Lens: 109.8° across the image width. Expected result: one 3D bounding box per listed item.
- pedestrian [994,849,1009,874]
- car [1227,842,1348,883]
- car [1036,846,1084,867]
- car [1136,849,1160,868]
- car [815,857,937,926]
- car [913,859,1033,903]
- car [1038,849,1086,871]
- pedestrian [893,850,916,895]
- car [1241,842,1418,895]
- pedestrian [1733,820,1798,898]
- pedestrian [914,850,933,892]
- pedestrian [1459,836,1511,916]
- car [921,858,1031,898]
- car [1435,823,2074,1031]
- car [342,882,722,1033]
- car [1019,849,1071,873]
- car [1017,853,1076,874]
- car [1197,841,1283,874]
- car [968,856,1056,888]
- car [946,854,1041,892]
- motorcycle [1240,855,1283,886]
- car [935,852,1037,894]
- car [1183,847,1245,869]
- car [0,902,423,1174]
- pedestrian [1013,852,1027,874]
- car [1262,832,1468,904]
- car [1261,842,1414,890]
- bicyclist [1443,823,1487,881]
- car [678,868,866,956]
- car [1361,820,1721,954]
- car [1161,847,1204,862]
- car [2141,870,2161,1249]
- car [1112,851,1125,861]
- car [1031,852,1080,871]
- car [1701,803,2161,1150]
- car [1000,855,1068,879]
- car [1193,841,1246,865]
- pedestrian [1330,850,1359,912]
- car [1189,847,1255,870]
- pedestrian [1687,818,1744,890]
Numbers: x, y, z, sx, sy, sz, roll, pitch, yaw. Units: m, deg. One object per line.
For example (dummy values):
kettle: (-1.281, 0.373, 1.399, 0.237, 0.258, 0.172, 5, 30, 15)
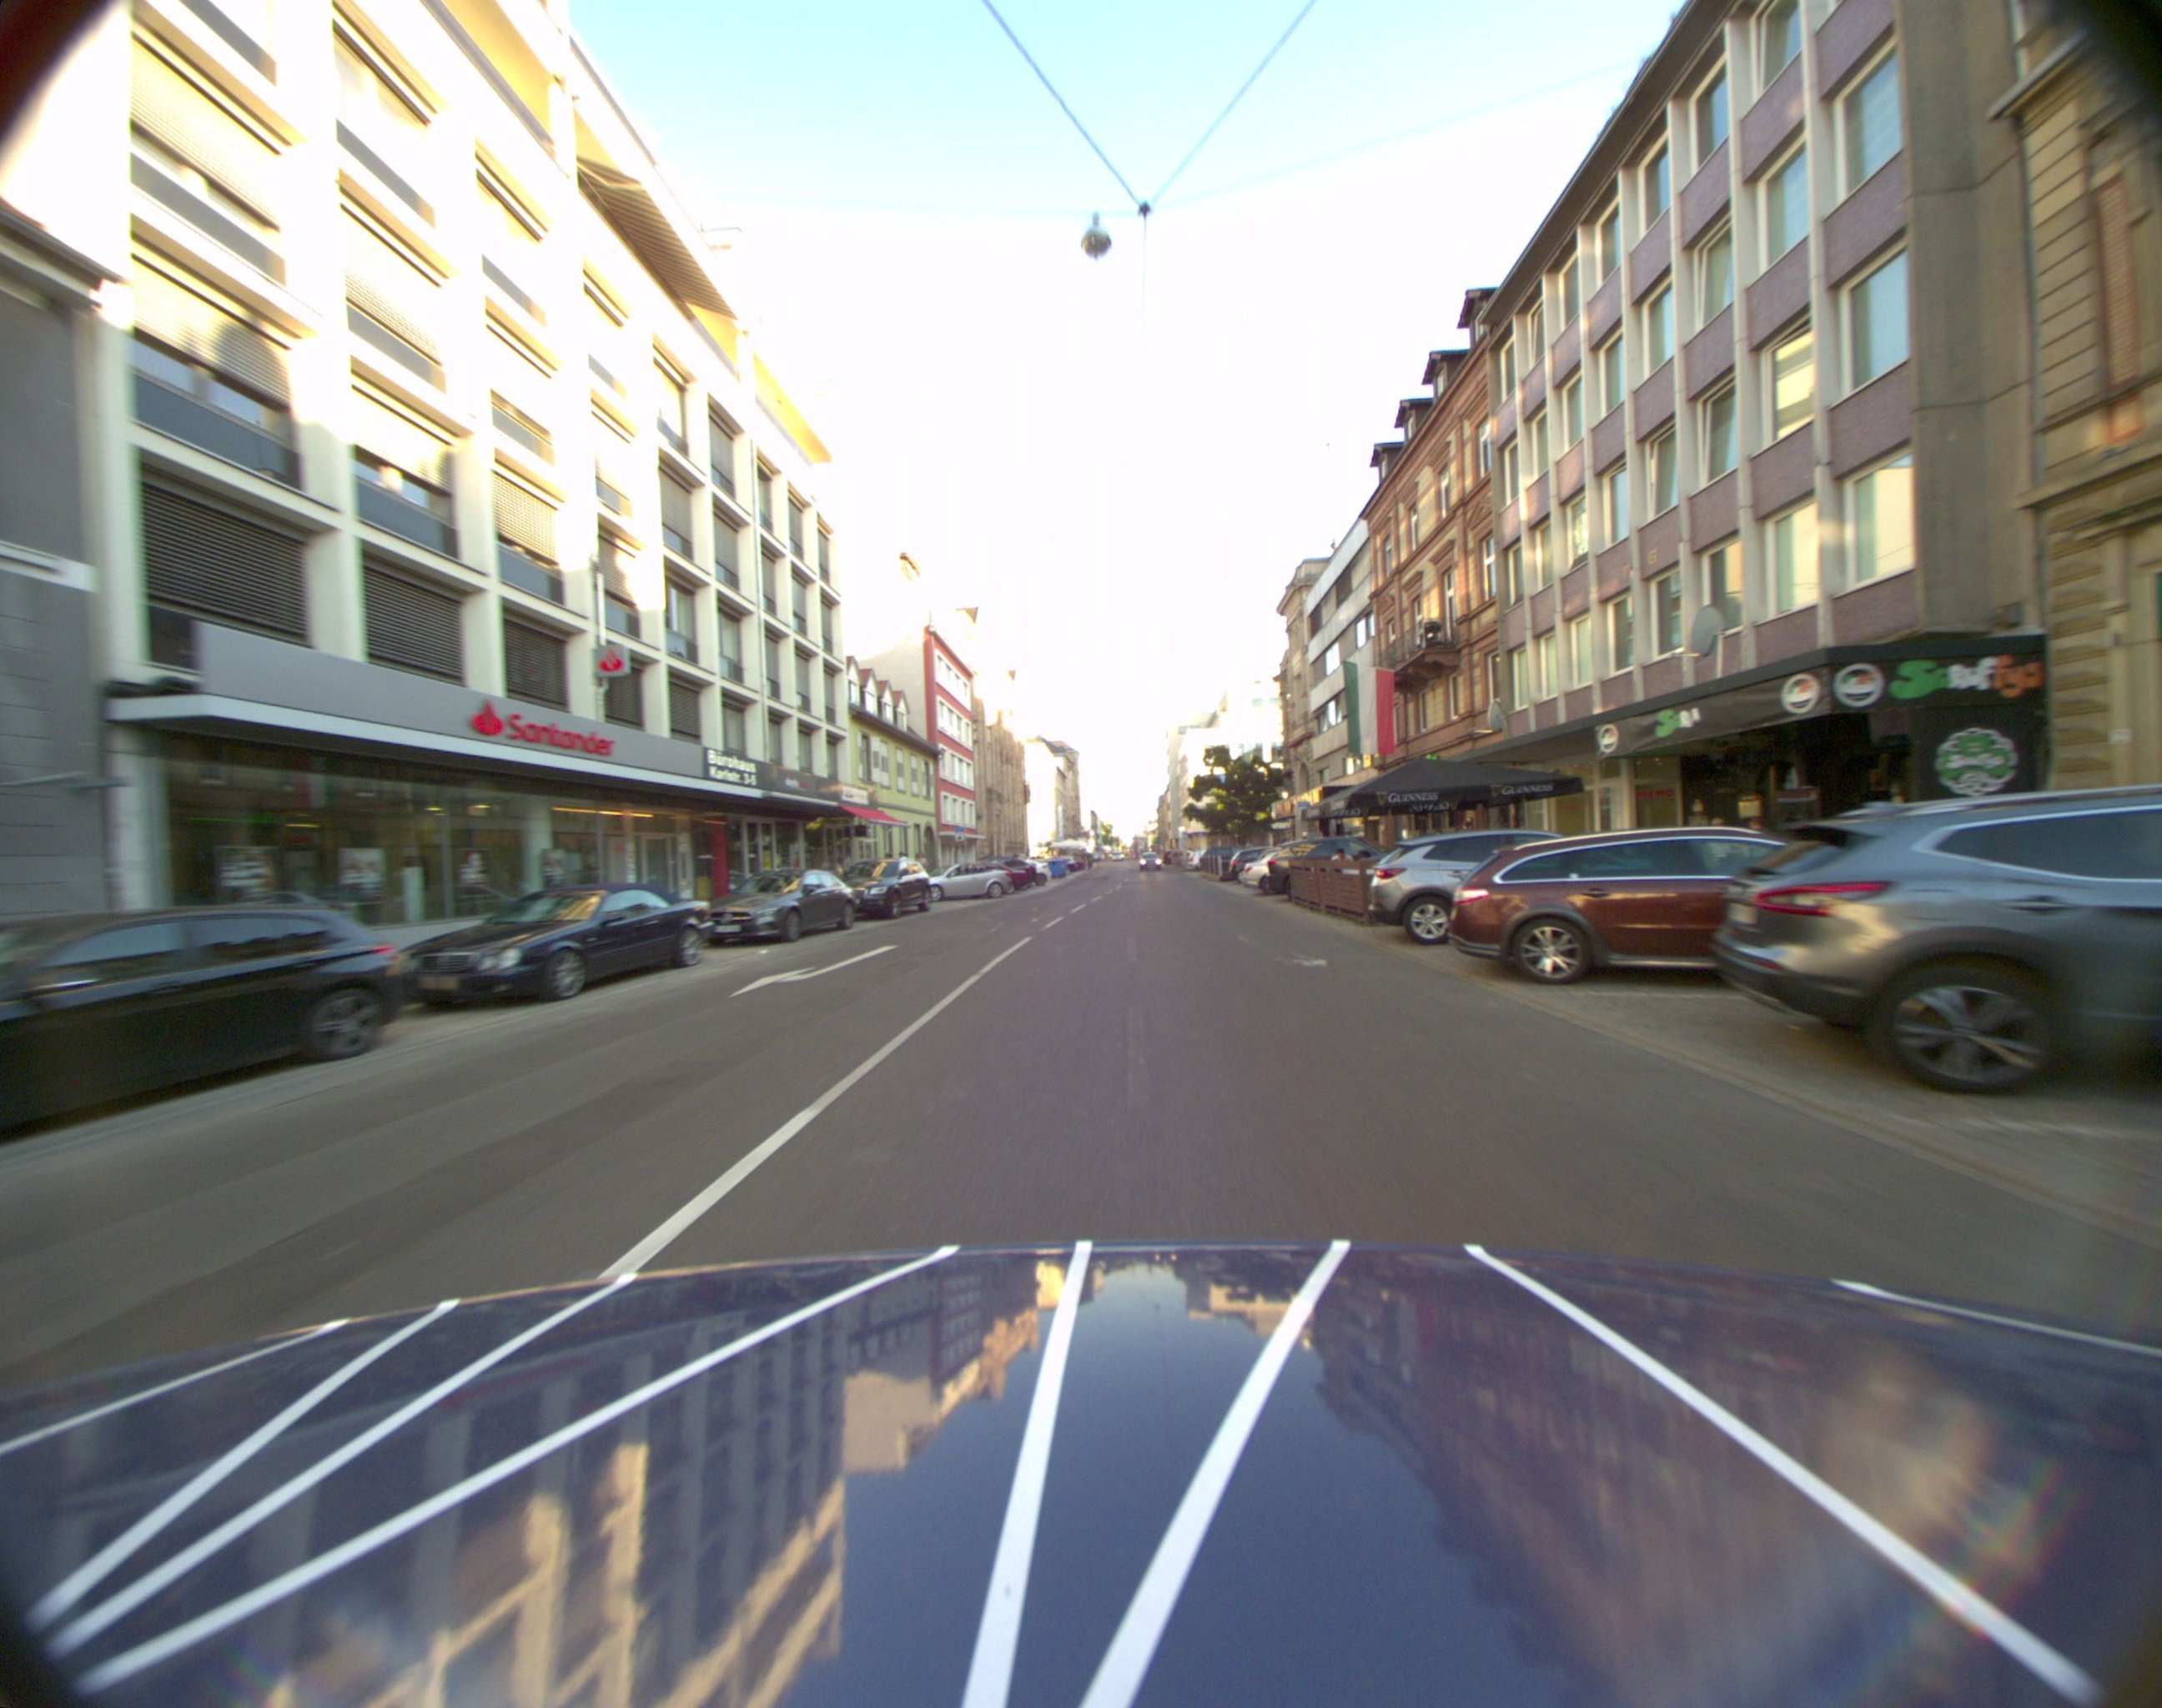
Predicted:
pedestrian: (-6.352, 0.580, 60.711, 0.849, 1.933, 1.013, -2, 1, 9)
car: (8.850, 0.373, 32.903, 4.835, 1.558, 1.909, -2, 0, 8)
car: (-2.073, 0.281, 74.745, 4.232, 1.871, 1.751, -2, 1, -21)
car: (5.589, 0.348, 63.266, 1.906, 1.417, 4.427, -2, 0, 5)
car: (-5.658, 0.964, 21.583, 1.831, 1.649, 4.364, -2, 0, 6)
car: (-4.147, 0.995, 29.488, 4.235, 1.431, 1.750, -3, 1, -37)
car: (-1.698, 0.535, 68.519, 3.840, 1.714, 1.751, -3, 0, -21)
pedestrian: (-8.189, 0.840, 35.232, 0.762, 2.055, 0.719, -2, 1, 3)
car: (7.655, 0.466, 23.593, 4.829, 1.495, 1.912, -2, 0, 33)
pedestrian: (11.753, 0.087, 13.064, 0.574, 1.301, 0.576, -2, 1, 5)
pedestrian: (-7.258, 0.771, 35.059, 0.612, 1.876, 0.719, -2, 1, 3)
pedestrian: (7.341, 0.396, 13.841, 0.576, 1.408, 0.675, -2, 1, 4)
car: (-4.417, 0.988, 32.180, 4.234, 1.431, 1.750, -3, 1, -30)
car: (6.015, 0.578, 7.508, 4.285, 1.539, 1.714, -2, 1, 35)
car: (-7.010, 1.211, 10.470, 1.746, 1.379, 4.502, -2, 0, 3)
car: (-2.955, 0.560, 61.983, 3.840, 1.742, 1.751, -2, 1, -21)
car: (-2.703, 0.737, 59.141, 4.232, 1.465, 1.751, -2, 1, -21)
car: (9.472, 0.192, 45.366, 4.834, 1.763, 1.910, -2, 0, 12)
car: (-3.656, 0.919, 40.381, 4.233, 1.465, 1.750, -3, 1, -26)
car: (-4.318, 0.896, 37.466, 4.233, 1.607, 1.750, -3, 1, -26)
motorcycle: (7.047, 0.652, 29.661, 1.584, 1.151, 0.458, -2, 2, 19)
car: (-4.359, 0.850, 34.900, 4.234, 1.667, 1.750, -3, 1, -30)
car: (9.898, 0.293, 56.344, 4.418, 1.417, 1.910, -2, 0, 12)
car: (-7.335, 1.231, 5.179, 1.746, 1.438, 4.250, -2, 0, 4)
pedestrian: (-5.143, 0.735, 63.803, 0.849, 1.789, 1.013, -2, 1, 9)
car: (7.493, 0.391, 20.205, 4.829, 1.723, 1.912, -2, 0, 31)
car: (8.905, 0.432, 26.428, 4.830, 1.495, 1.911, -2, 0, 25)
bicyclist: (10.711, -0.053, 21.206, 0.767, 1.550, 0.813, -3, 1, 3)
car: (-6.361, 1.119, 16.298, 1.746, 1.438, 4.560, -2, 0, 5)
car: (6.317, 0.484, 10.952, 4.043, 1.619, 1.856, -4, 0, 25)
car: (11.213, 0.048, 83.829, 4.418, 1.417, 1.910, -2, 0, 12)
car: (5.560, 0.741, 1.171, 4.240, 1.439, 1.714, -2, 0, 29)
car: (6.066, 0.282, 122.118, 1.906, 1.417, 4.427, -2, 0, 5)
car: (-2.195, 0.655, 65.264, 3.840, 1.339, 1.736, -3, 0, -21)
car: (6.110, 0.557, 4.079, 4.040, 1.647, 1.796, -2, 0, 29)
car: (-3.227, 0.878, 52.091, 4.233, 1.465, 1.750, -3, 1, -26)
car: (12.111, -0.082, 66.242, 4.418, 1.951, 1.910, -2, 0, 12)
pedestrian: (6.225, 0.632, 17.990, 0.575, 1.408, 0.542, -2, 1, 15)
car: (9.796, 0.293, 52.835, 4.418, 1.417, 1.910, -2, 0, 12)
pedestrian: (11.804, 0.001, 14.146, 0.574, 1.301, 0.576, -2, 1, 5)
